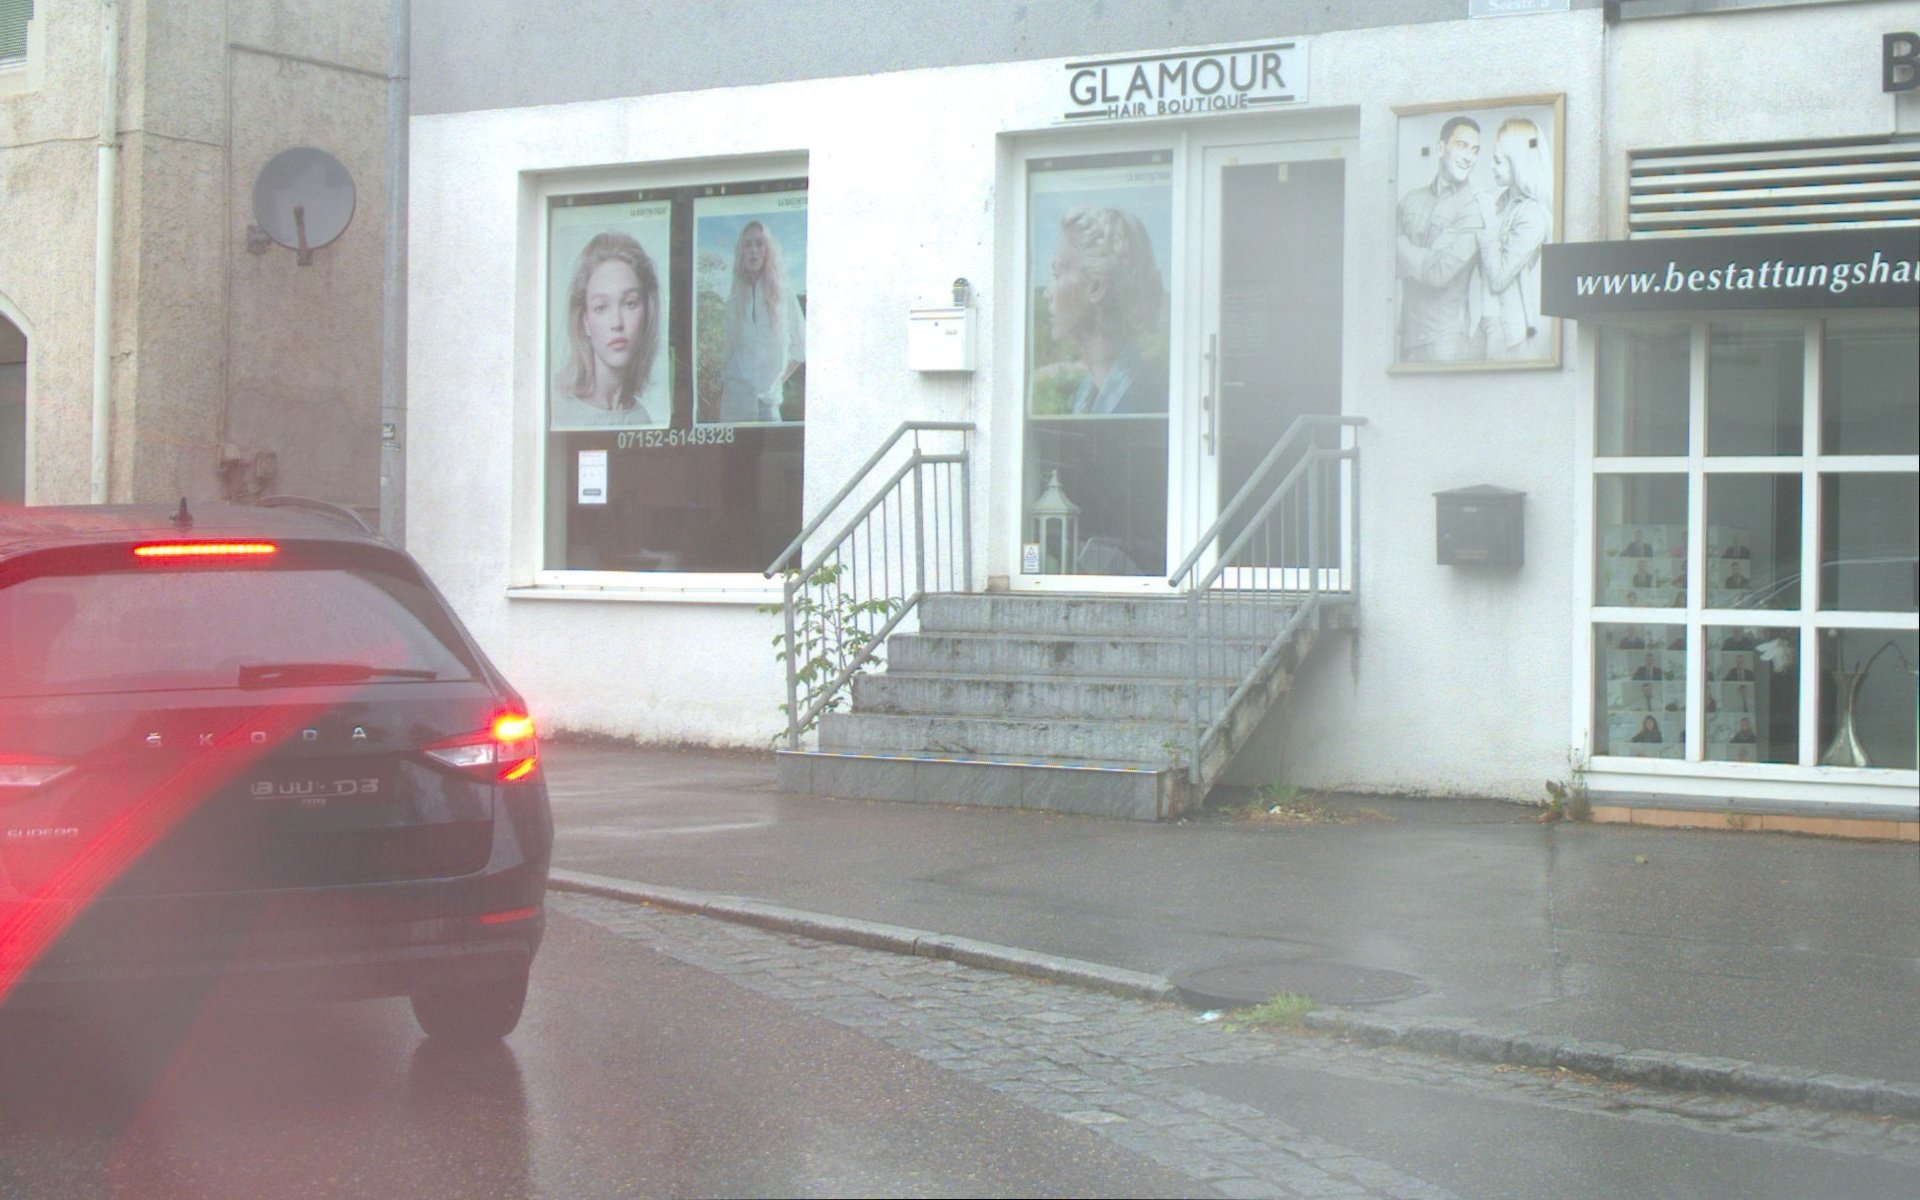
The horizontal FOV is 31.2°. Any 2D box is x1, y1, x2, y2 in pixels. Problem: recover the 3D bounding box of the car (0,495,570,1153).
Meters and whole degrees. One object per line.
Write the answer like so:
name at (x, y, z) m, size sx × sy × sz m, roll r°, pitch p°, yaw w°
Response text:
car at (-2.573, 0.450, 10.008) m, size 1.732 × 1.445 × 4.243 m, roll -1°, pitch 3°, yaw -23°
